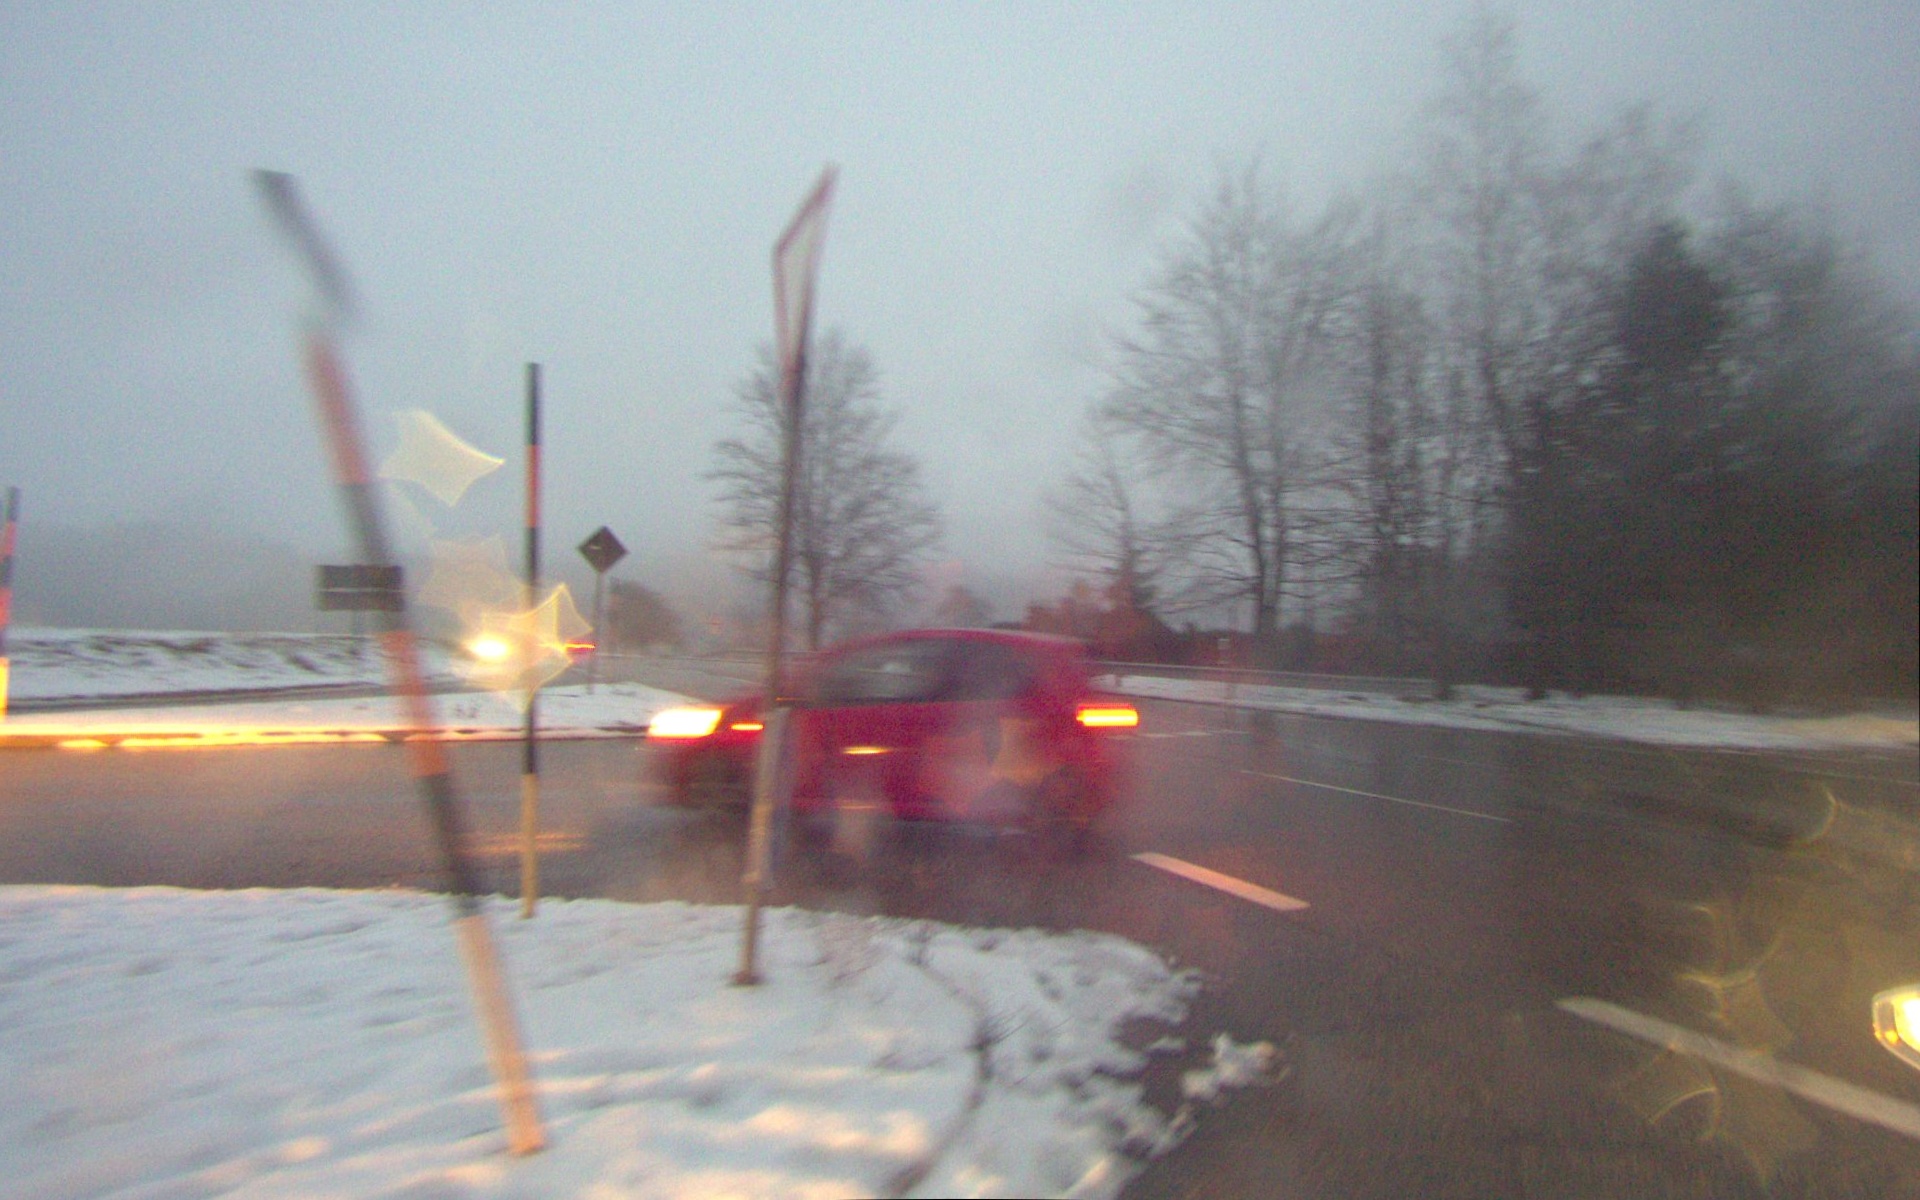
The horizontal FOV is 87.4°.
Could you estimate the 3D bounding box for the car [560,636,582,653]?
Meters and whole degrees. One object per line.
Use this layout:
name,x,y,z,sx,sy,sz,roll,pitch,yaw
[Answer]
car,-39.508,4.497,101.980,1.676,1.572,3.830,3,-3,-26

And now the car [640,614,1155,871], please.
car,-0.343,0.902,7.240,3.343,1.471,1.578,2,-1,9
